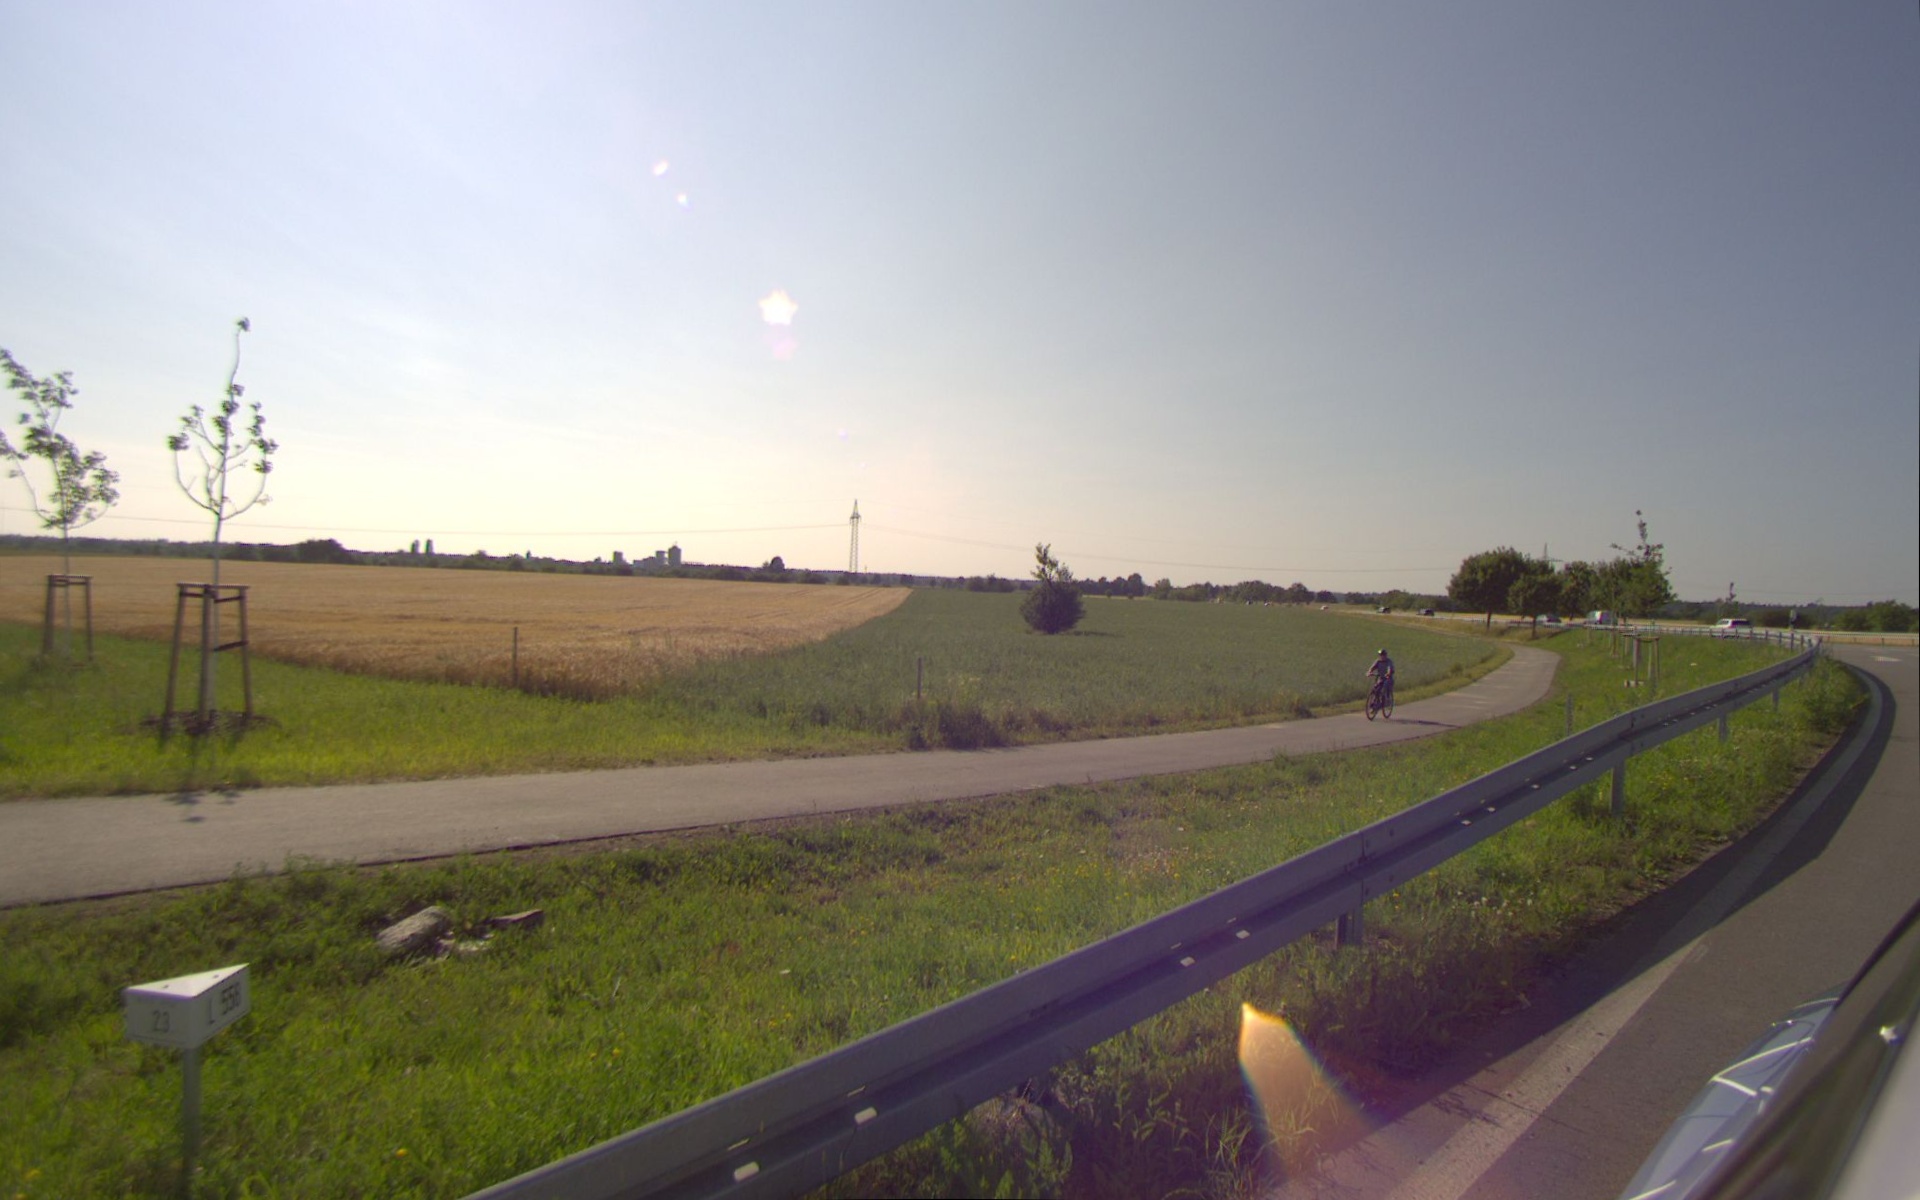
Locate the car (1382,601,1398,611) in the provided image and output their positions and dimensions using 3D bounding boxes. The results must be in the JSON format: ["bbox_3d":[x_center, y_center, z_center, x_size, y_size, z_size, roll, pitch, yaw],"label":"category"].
[{"bbox_3d":[81.830,1.081,192.653,1.860,1.820,5.072,0,1,13],"label":"car"}]

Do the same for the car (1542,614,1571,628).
[{"bbox_3d":[71.237,2.543,120.943,1.775,1.467,4.680,1,-2,16],"label":"car"}]

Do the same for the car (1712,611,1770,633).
[{"bbox_3d":[59.747,1.694,77.498,2.096,1.512,5.114,1,-3,21],"label":"car"}]

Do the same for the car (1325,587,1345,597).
[{"bbox_3d":[78.279,-1.672,211.437,2.771,2.039,6.087,0,1,9],"label":"car"}]

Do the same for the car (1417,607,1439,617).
[{"bbox_3d":[77.925,2.046,168.617,1.966,1.613,4.853,1,0,7],"label":"car"}]

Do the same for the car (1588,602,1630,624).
[{"bbox_3d":[69.326,1.412,108.191,2.090,2.040,5.131,1,-2,13],"label":"car"}]

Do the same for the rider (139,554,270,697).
[{"bbox_3d":[-9.298,0.301,12.495,0.806,1.663,0.991,3,0,1],"label":"rider"}]
